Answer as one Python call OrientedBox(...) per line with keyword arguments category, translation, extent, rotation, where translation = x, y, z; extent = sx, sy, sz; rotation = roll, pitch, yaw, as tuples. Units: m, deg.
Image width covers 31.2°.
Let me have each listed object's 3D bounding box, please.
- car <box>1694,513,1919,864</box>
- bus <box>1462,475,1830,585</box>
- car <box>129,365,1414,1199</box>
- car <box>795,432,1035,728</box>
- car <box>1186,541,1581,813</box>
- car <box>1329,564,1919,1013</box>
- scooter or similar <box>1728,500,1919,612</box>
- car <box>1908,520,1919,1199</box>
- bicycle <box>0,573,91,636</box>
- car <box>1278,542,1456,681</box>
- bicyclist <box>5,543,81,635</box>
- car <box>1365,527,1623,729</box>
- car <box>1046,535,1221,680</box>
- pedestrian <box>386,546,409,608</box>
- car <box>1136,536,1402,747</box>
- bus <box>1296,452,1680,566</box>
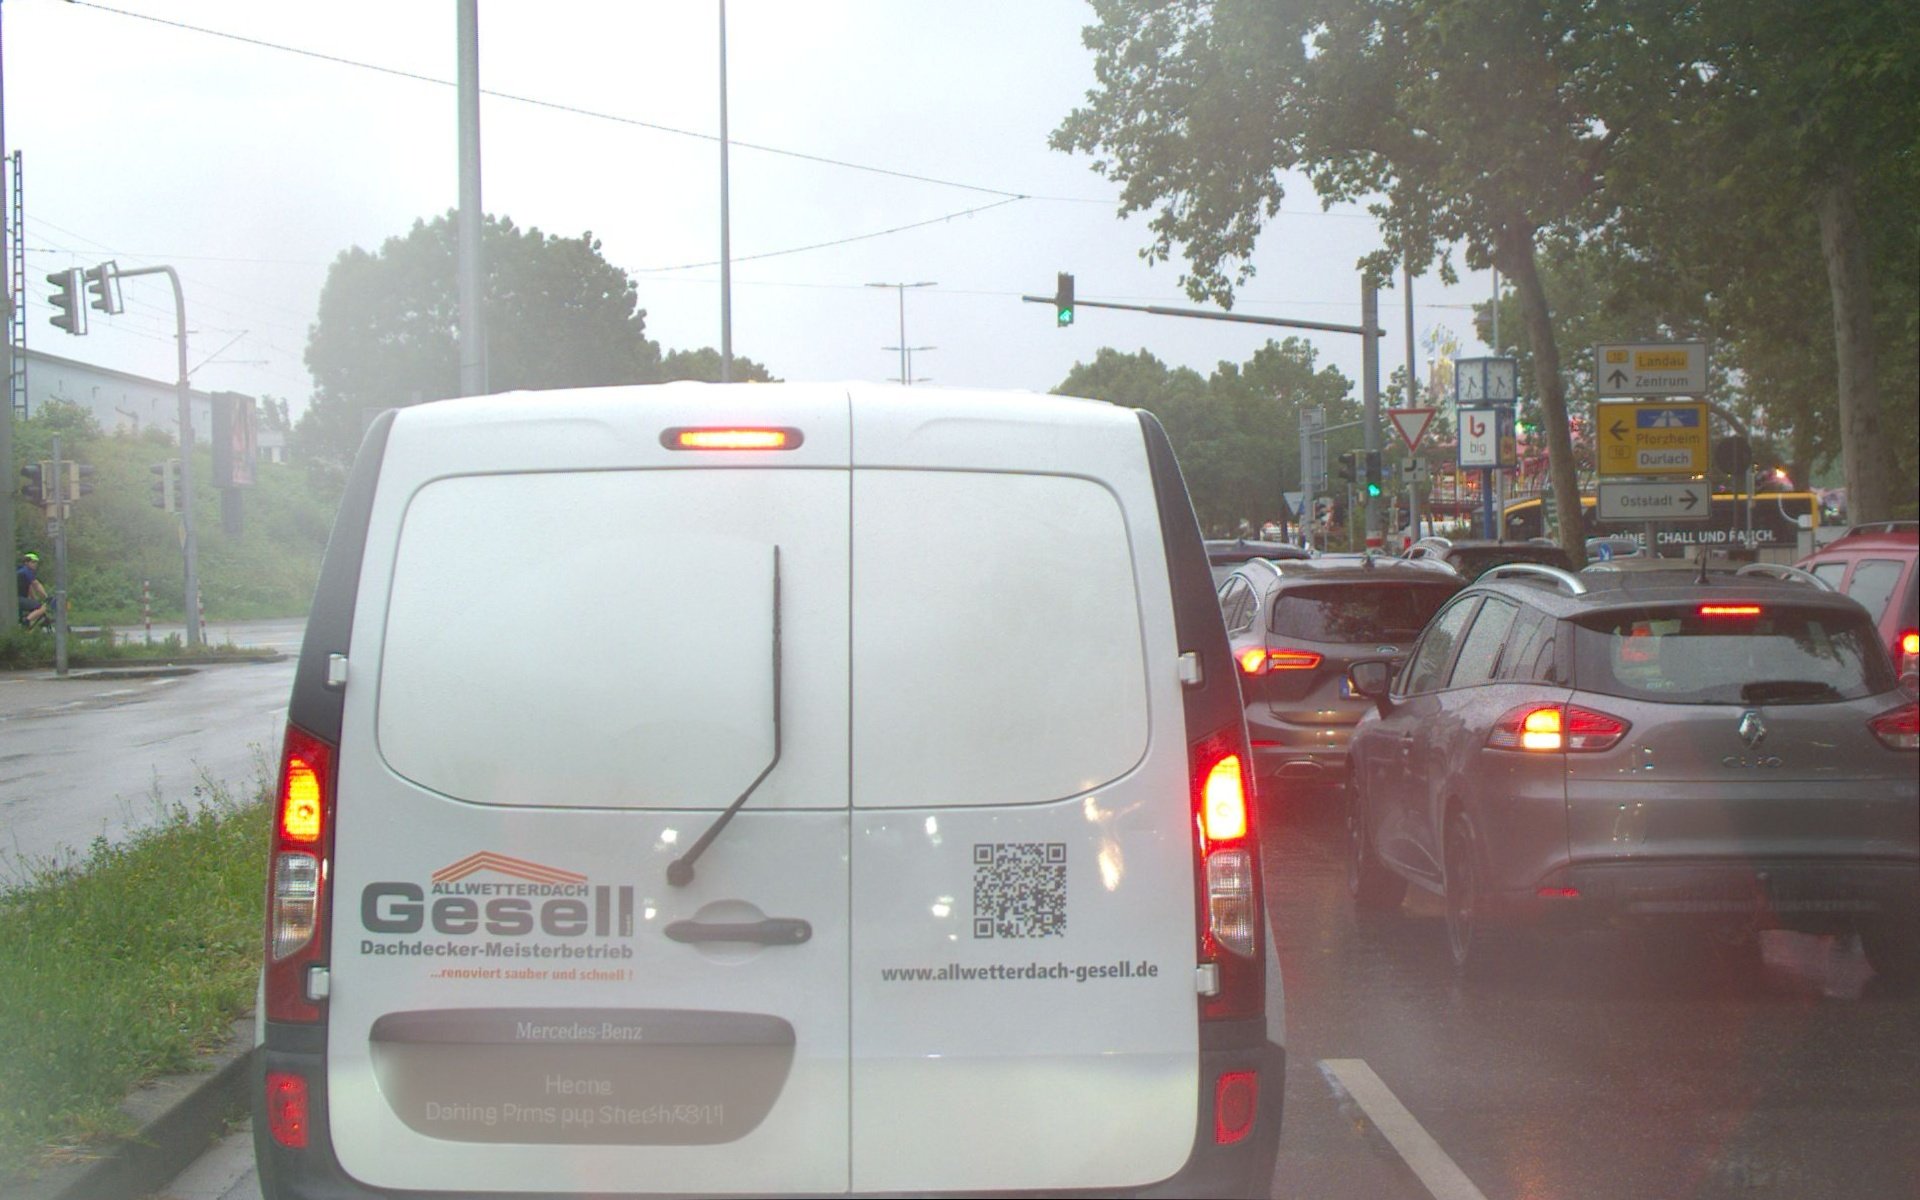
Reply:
OrientedBox(category="car", translation=(5.338, 0.425, 18.694), extent=(1.710, 1.688, 4.272), rotation=(1, 0, -1))
OrientedBox(category="bus", translation=(23.053, -2.371, 115.592), extent=(11.968, 3.411, 2.484), rotation=(-1, 1, -9))
OrientedBox(category="car", translation=(-0.315, 0.473, 7.647), extent=(1.993, 1.770, 4.585), rotation=(0, 1, -1))
OrientedBox(category="car", translation=(-0.371, -0.196, 28.638), extent=(1.854, 2.288, 3.843), rotation=(0, 1, -1))
OrientedBox(category="car", translation=(2.433, 0.388, 20.628), extent=(1.854, 1.455, 3.843), rotation=(0, 1, -1))
OrientedBox(category="car", translation=(2.508, 0.598, 13.100), extent=(1.683, 1.403, 3.843), rotation=(1, 1, -1))
OrientedBox(category="scooter or similar", translation=(19.984, -0.990, 77.058), extent=(1.890, 2.437, 5.316), rotation=(-1, 1, -41))
OrientedBox(category="car", translation=(2.978, 0.641, 5.405), extent=(1.747, 1.549, 4.091), rotation=(0, 1, -1))
OrientedBox(category="bicycle", translation=(-14.853, 0.058, 55.553), extent=(1.040, 0.949, 2.889), rotation=(-2, 2, -25))
OrientedBox(category="car", translation=(5.008, 0.119, 42.722), extent=(1.708, 1.644, 3.843), rotation=(0, 1, -1))
OrientedBox(category="bicyclist", translation=(-14.793, -0.186, 55.425), extent=(1.040, 1.445, 0.729), rotation=(-2, 2, -25))
OrientedBox(category="car", translation=(4.797, 0.197, 31.348), extent=(1.708, 1.722, 3.843), rotation=(0, 1, -1))
OrientedBox(category="car", translation=(2.027, 0.065, 41.162), extent=(1.854, 1.644, 3.843), rotation=(0, 1, -1))
OrientedBox(category="pedestrian", translation=(-15.701, -0.643, 95.982), extent=(0.543, 1.710, 0.563), rotation=(1, 0, -4))
OrientedBox(category="car", translation=(2.538, 0.294, 29.020), extent=(1.854, 1.644, 3.843), rotation=(0, 1, -1))
OrientedBox(category="bus", translation=(16.955, -2.921, 110.872), extent=(11.970, 3.411, 2.315), rotation=(-1, 1, 0))
